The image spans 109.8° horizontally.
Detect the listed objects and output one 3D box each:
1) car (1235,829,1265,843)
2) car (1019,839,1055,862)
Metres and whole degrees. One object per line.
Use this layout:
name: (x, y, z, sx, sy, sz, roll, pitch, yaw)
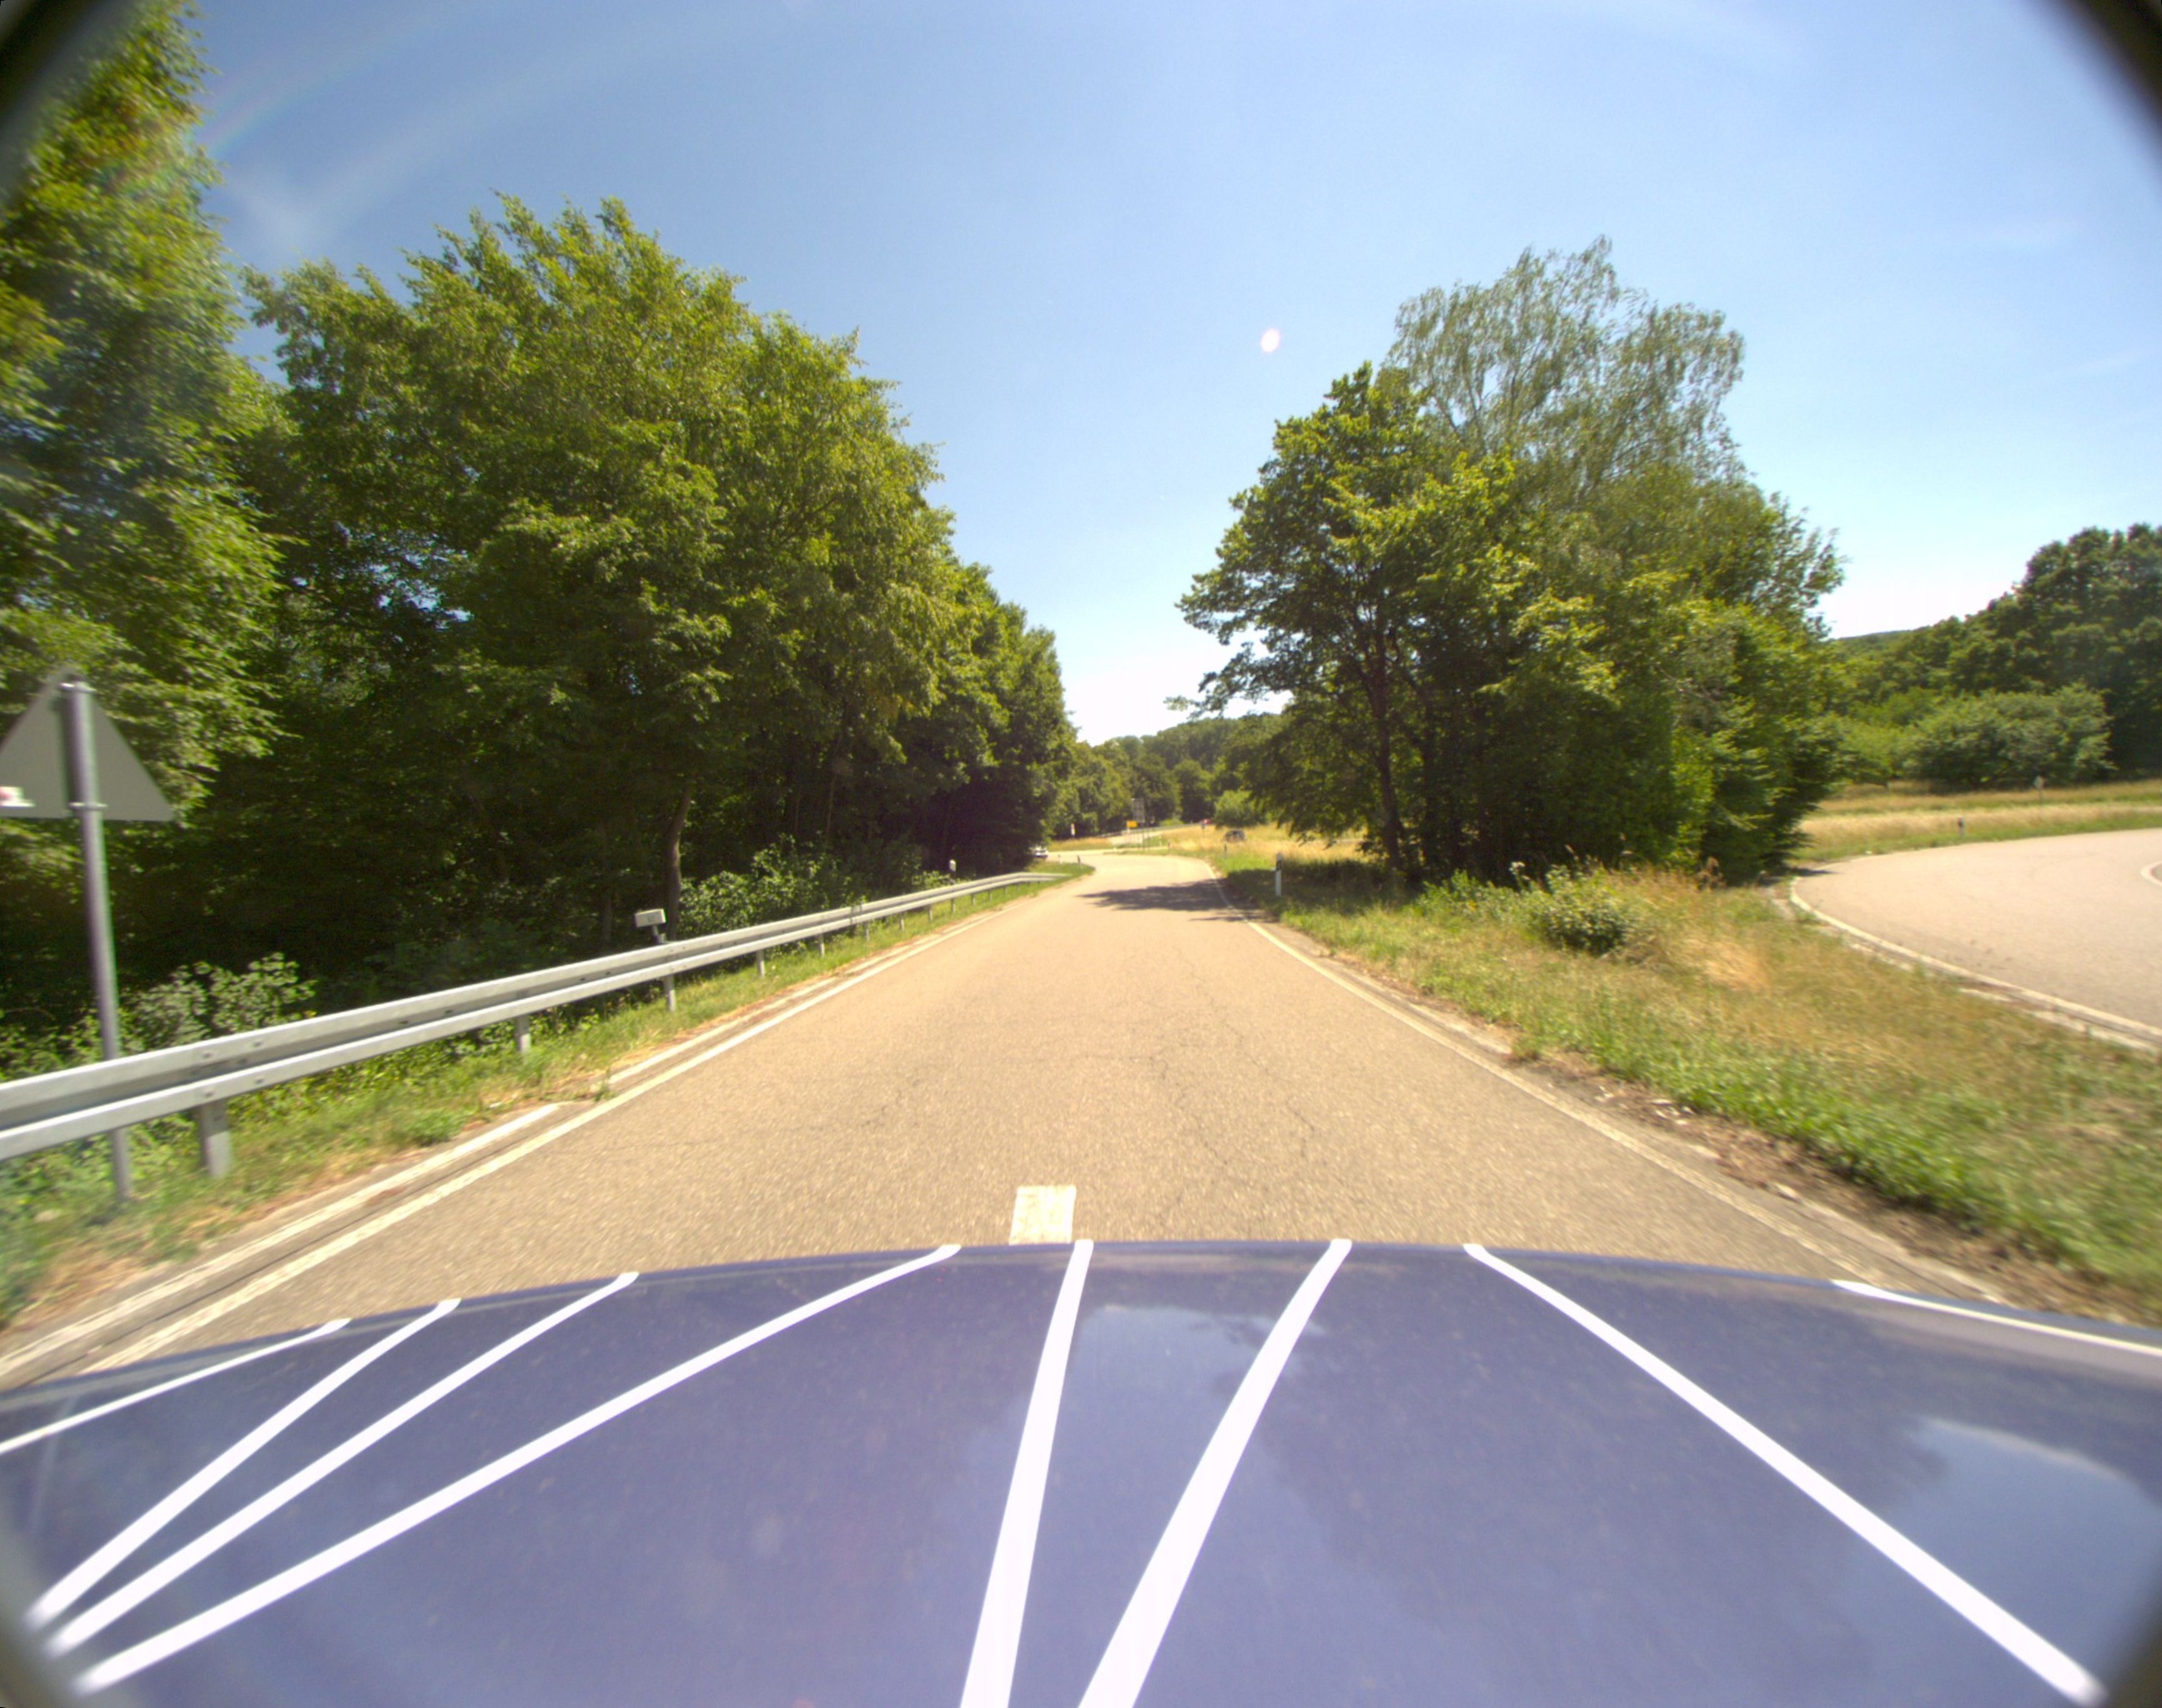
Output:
car: (18.851, -1.998, 84.894, 1.474, 1.320, 2.953, -6, 4, -43)
car: (-4.295, -0.320, 73.249, 2.227, 2.021, 5.419, -3, 1, -17)
